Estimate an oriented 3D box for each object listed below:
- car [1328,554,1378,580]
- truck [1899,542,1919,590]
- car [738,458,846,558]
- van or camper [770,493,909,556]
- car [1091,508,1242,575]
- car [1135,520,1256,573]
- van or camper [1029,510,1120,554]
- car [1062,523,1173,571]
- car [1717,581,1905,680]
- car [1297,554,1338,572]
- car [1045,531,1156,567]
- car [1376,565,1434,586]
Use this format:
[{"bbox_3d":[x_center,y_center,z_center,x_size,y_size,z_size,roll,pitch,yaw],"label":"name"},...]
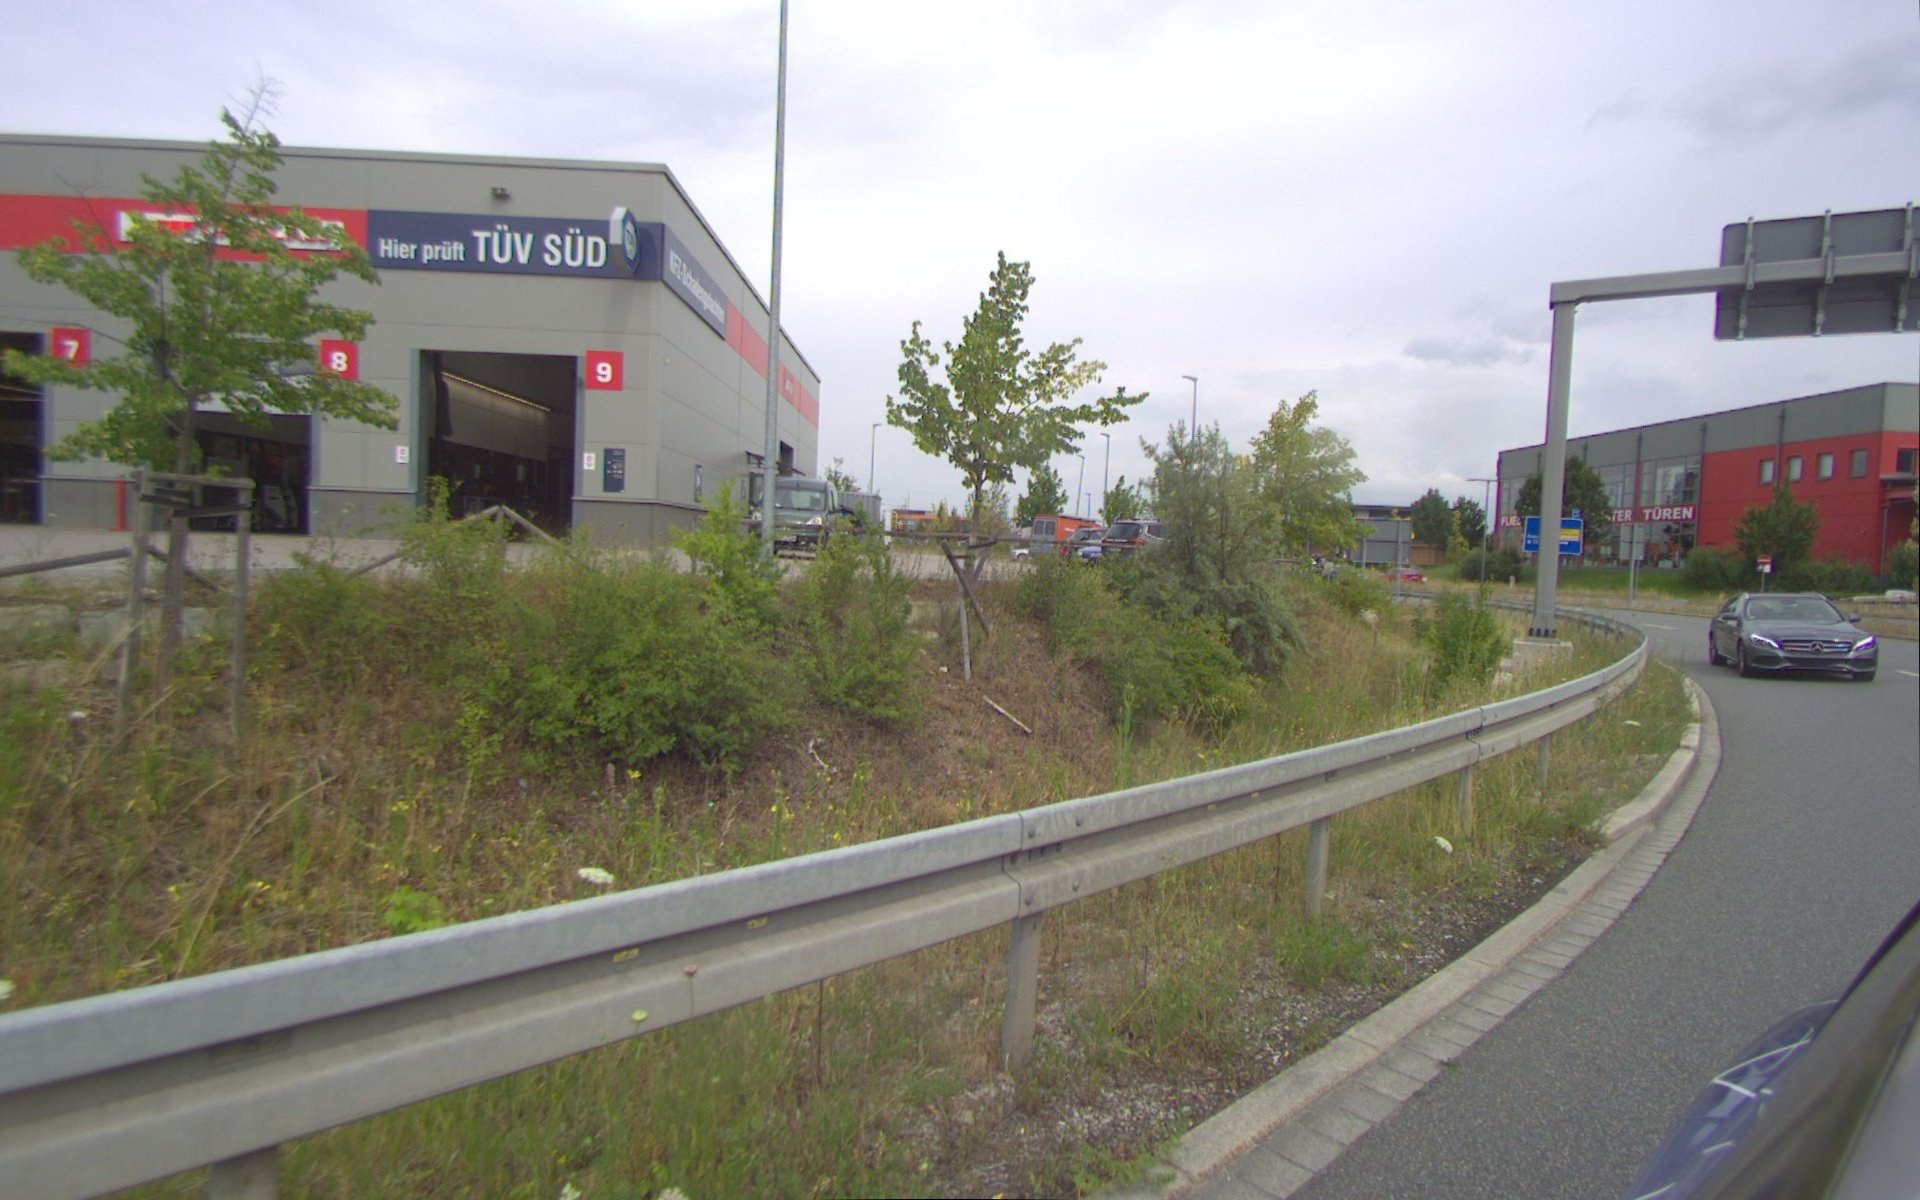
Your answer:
[{"bbox_3d":[27.955,-2.397,72.083,1.807,1.740,4.004,-1,2,-3],"label":"car"},{"bbox_3d":[52.397,-1.721,52.356,2.001,2.517,5.911,0,3,0],"label":"truck"},{"bbox_3d":[-3.519,-1.919,21.867,1.672,1.833,3.974,4,3,-2],"label":"car"},{"bbox_3d":[-6.768,-4.256,57.576,7.590,3.217,2.494,2,2,-1],"label":"van or camper"},{"bbox_3d":[5.952,-1.670,29.021,4.087,1.804,1.806,-2,2,-31],"label":"car"},{"bbox_3d":[7.870,-1.789,33.823,3.656,1.673,1.522,-2,2,-17],"label":"car"},{"bbox_3d":[5.604,-3.271,49.335,4.596,2.021,1.811,-1,3,-42],"label":"van or camper"},{"bbox_3d":[5.868,-1.949,37.696,3.716,1.537,1.696,2,1,-26],"label":"car"},{"bbox_3d":[15.220,0.444,18.365,1.892,1.515,4.293,1,2,30],"label":"car"},{"bbox_3d":[33.999,-3.536,96.344,1.877,1.646,4.644,-2,2,-6],"label":"car"},{"bbox_3d":[6.069,-2.203,43.521,4.494,1.417,1.708,0,4,-25],"label":"car"},{"bbox_3d":[34.195,-1.926,77.935,1.761,1.465,4.979,-2,2,-6],"label":"car"}]
